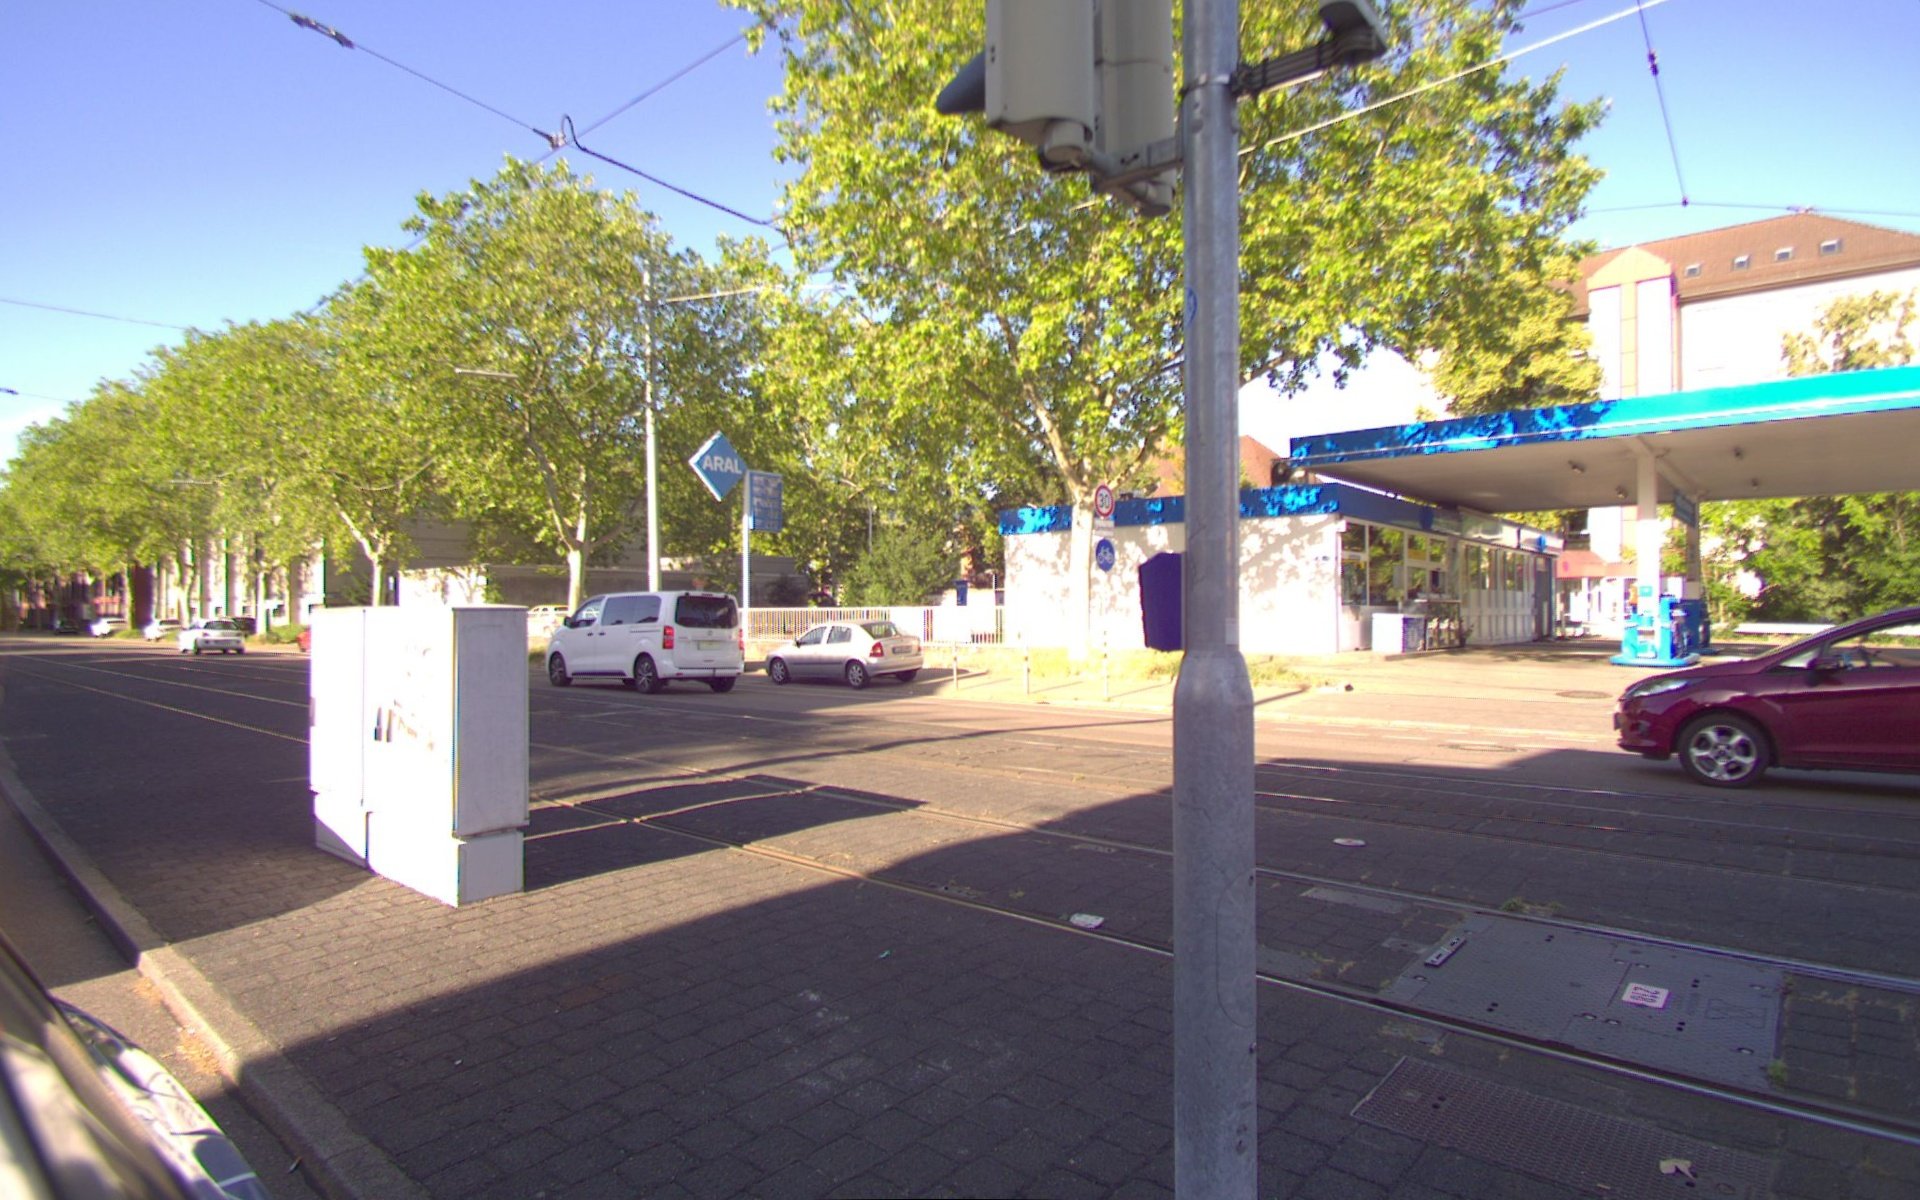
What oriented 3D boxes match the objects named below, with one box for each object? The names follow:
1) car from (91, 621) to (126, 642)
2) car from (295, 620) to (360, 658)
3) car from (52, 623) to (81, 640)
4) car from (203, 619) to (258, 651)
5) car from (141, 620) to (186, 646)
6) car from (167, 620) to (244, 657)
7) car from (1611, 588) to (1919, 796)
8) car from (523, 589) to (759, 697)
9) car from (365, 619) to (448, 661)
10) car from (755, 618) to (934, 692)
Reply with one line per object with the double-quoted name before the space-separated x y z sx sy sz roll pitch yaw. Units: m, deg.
"car" -66.800 2.478 79.385 3.731 1.471 1.639 -1 2 43
"car" -28.781 1.734 46.018 3.377 1.506 1.639 -1 2 43
"car" -85.023 2.985 96.275 3.731 1.471 1.639 -1 2 43
"car" -40.936 1.933 56.766 3.878 1.603 1.731 -1 2 43
"car" -53.712 2.221 68.219 3.878 1.552 1.731 -1 2 43
"car" -31.617 1.614 42.368 3.933 1.446 1.720 -1 -4 41
"car" 7.253 0.659 7.507 3.880 1.437 1.573 -2 -3 42
"car" -6.427 0.847 20.050 5.213 1.868 1.973 -1 -4 41
"car" -21.854 1.552 39.894 3.769 1.455 1.701 -1 2 43
"car" -2.631 1.176 22.583 3.987 1.376 1.666 -2 3 41
